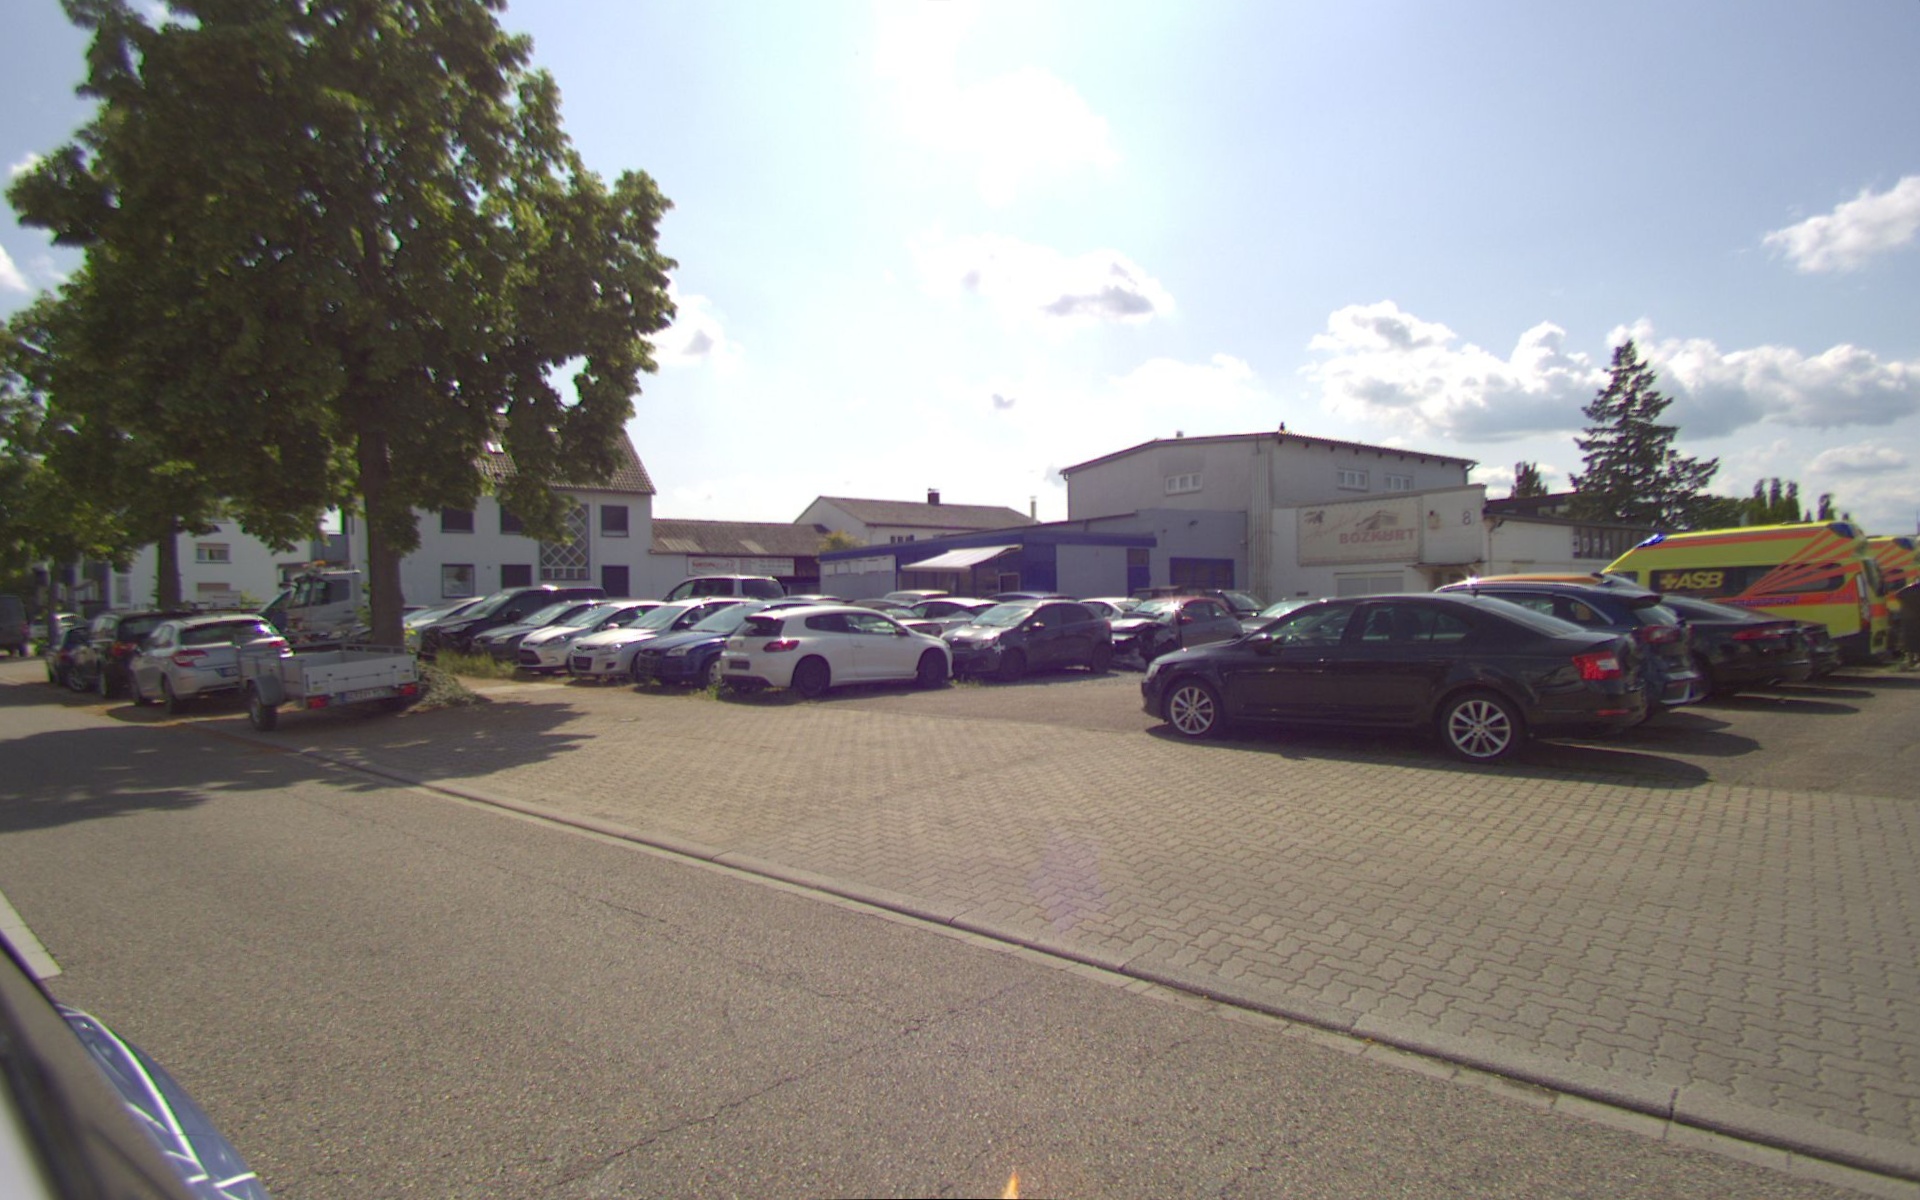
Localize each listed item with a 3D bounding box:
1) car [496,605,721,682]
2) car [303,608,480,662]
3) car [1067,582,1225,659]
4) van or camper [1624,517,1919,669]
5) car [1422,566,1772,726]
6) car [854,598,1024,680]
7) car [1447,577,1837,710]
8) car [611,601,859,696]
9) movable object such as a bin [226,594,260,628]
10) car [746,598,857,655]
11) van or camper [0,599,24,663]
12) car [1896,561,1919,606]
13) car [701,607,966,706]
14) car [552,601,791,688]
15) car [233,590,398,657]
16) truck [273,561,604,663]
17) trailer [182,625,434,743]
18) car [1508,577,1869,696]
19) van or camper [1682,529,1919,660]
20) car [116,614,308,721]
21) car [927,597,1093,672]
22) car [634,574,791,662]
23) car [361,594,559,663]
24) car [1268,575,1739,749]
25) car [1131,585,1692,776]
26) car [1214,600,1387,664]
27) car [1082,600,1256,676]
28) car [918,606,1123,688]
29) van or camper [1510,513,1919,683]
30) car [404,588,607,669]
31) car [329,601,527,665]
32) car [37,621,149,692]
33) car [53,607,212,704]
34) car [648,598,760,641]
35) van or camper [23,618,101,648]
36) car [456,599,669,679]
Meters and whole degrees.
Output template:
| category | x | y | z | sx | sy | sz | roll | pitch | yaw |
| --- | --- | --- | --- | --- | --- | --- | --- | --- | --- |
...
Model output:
| category | x | y | z | sx | sy | sz | roll | pitch | yaw |
| --- | --- | --- | --- | --- | --- | --- | --- | --- | --- |
| car | -7.262 | 0.837 | 21.207 | 1.827 | 1.441 | 4.099 | 0 | 0 | 43 |
| car | -16.399 | 0.998 | 29.342 | 1.678 | 1.470 | 4.152 | -2 | -3 | 42 |
| car | 4.977 | 0.550 | 27.437 | 1.690 | 1.910 | 4.005 | 0 | -1 | -42 |
| van or camper | 15.498 | -0.072 | 18.368 | 1.969 | 2.494 | 5.367 | -1 | -1 | -42 |
| car | 7.578 | 0.505 | 12.250 | 1.425 | 1.668 | 3.305 | 0 | -1 | -42 |
| car | -0.553 | 0.856 | 23.211 | 1.690 | 1.709 | 4.005 | 0 | -1 | -42 |
| car | 9.135 | 0.557 | 13.797 | 4.165 | 1.545 | 1.734 | -2 | -2 | 44 |
| car | -3.894 | 0.767 | 17.967 | 1.827 | 1.501 | 3.982 | 0 | 0 | 43 |
| movable object such as a bin | -34.773 | 0.525 | 49.114 | 1.291 | 1.443 | 1.607 | -1 | -7 | -33 |
| car | -5.256 | 0.851 | 33.260 | 1.623 | 1.770 | 3.926 | -1 | 0 | -44 |
| van or camper | -38.067 | 1.231 | 39.281 | 5.933 | 2.334 | 1.972 | -1 | 3 | 43 |
| car | 34.157 | -0.593 | 33.936 | 1.723 | 1.549 | 3.814 | -1 | -1 | -38 |
| car | -1.946 | 0.816 | 16.356 | 1.828 | 1.384 | 3.980 | 0 | 0 | 45 |
| car | -5.455 | 0.773 | 19.510 | 1.827 | 1.501 | 4.099 | 0 | 0 | 43 |
| car | -23.368 | 0.783 | 36.785 | 4.935 | 2.248 | 2.004 | -1 | 1 | -37 |
| truck | -16.510 | 0.392 | 32.749 | 2.721 | 2.878 | 9.153 | -2 | -2 | 44 |
| trailer | -9.371 | 1.078 | 14.392 | 4.505 | 1.299 | 1.744 | -1 | 2 | 41 |
| car | 10.876 | 0.529 | 15.338 | 1.733 | 1.545 | 4.168 | 1 | -2 | -43 |
| van or camper | 18.367 | -0.084 | 20.822 | 1.969 | 2.494 | 5.367 | -1 | -1 | -42 |
| car | -12.971 | 1.076 | 17.444 | 4.236 | 1.539 | 1.814 | -2 | 1 | 42 |
| car | 1.145 | 0.802 | 24.604 | 1.690 | 1.650 | 4.005 | 0 | -1 | -42 |
| car | -6.239 | 0.459 | 25.332 | 3.994 | 2.029 | 1.694 | -1 | -1 | 38 |
| car | -12.851 | 0.706 | 26.234 | 1.825 | 1.627 | 4.252 | -2 | -2 | 39 |
| car | 5.778 | 0.591 | 11.078 | 4.254 | 1.545 | 1.736 | -2 | -1 | 41 |
| car | 4.080 | 0.639 | 9.663 | 4.581 | 1.421 | 1.736 | -2 | -1 | 41 |
| car | 8.180 | 0.727 | 24.219 | 3.933 | 1.390 | 1.918 | 0 | -1 | -34 |
| car | 4.553 | 0.759 | 21.915 | 3.513 | 1.449 | 1.799 | 0 | 2 | -37 |
| car | 1.215 | 0.818 | 19.343 | 3.784 | 1.391 | 1.797 | 0 | 0 | -42 |
| van or camper | 12.793 | 0.051 | 17.486 | 1.969 | 2.494 | 5.367 | -1 | -1 | -42 |
| car | -10.891 | 0.633 | 24.458 | 1.827 | 1.802 | 4.099 | 0 | 0 | 43 |
| car | -14.536 | 0.897 | 27.847 | 1.827 | 1.594 | 4.476 | -2 | -3 | 42 |
| car | -20.805 | 1.290 | 24.232 | 4.160 | 1.495 | 1.680 | -2 | 0 | 44 |
| car | -17.022 | 1.076 | 20.756 | 4.396 | 1.712 | 1.676 | -2 | 1 | 40 |
| car | -11.466 | 0.818 | 45.425 | 4.422 | 1.805 | 2.004 | -1 | 1 | -37 |
| van or camper | -52.627 | 1.896 | 59.392 | 1.751 | 1.554 | 4.011 | -2 | 1 | -14 |
| car | -8.879 | 0.803 | 22.831 | 1.827 | 1.631 | 4.099 | 0 | 0 | 43 |
